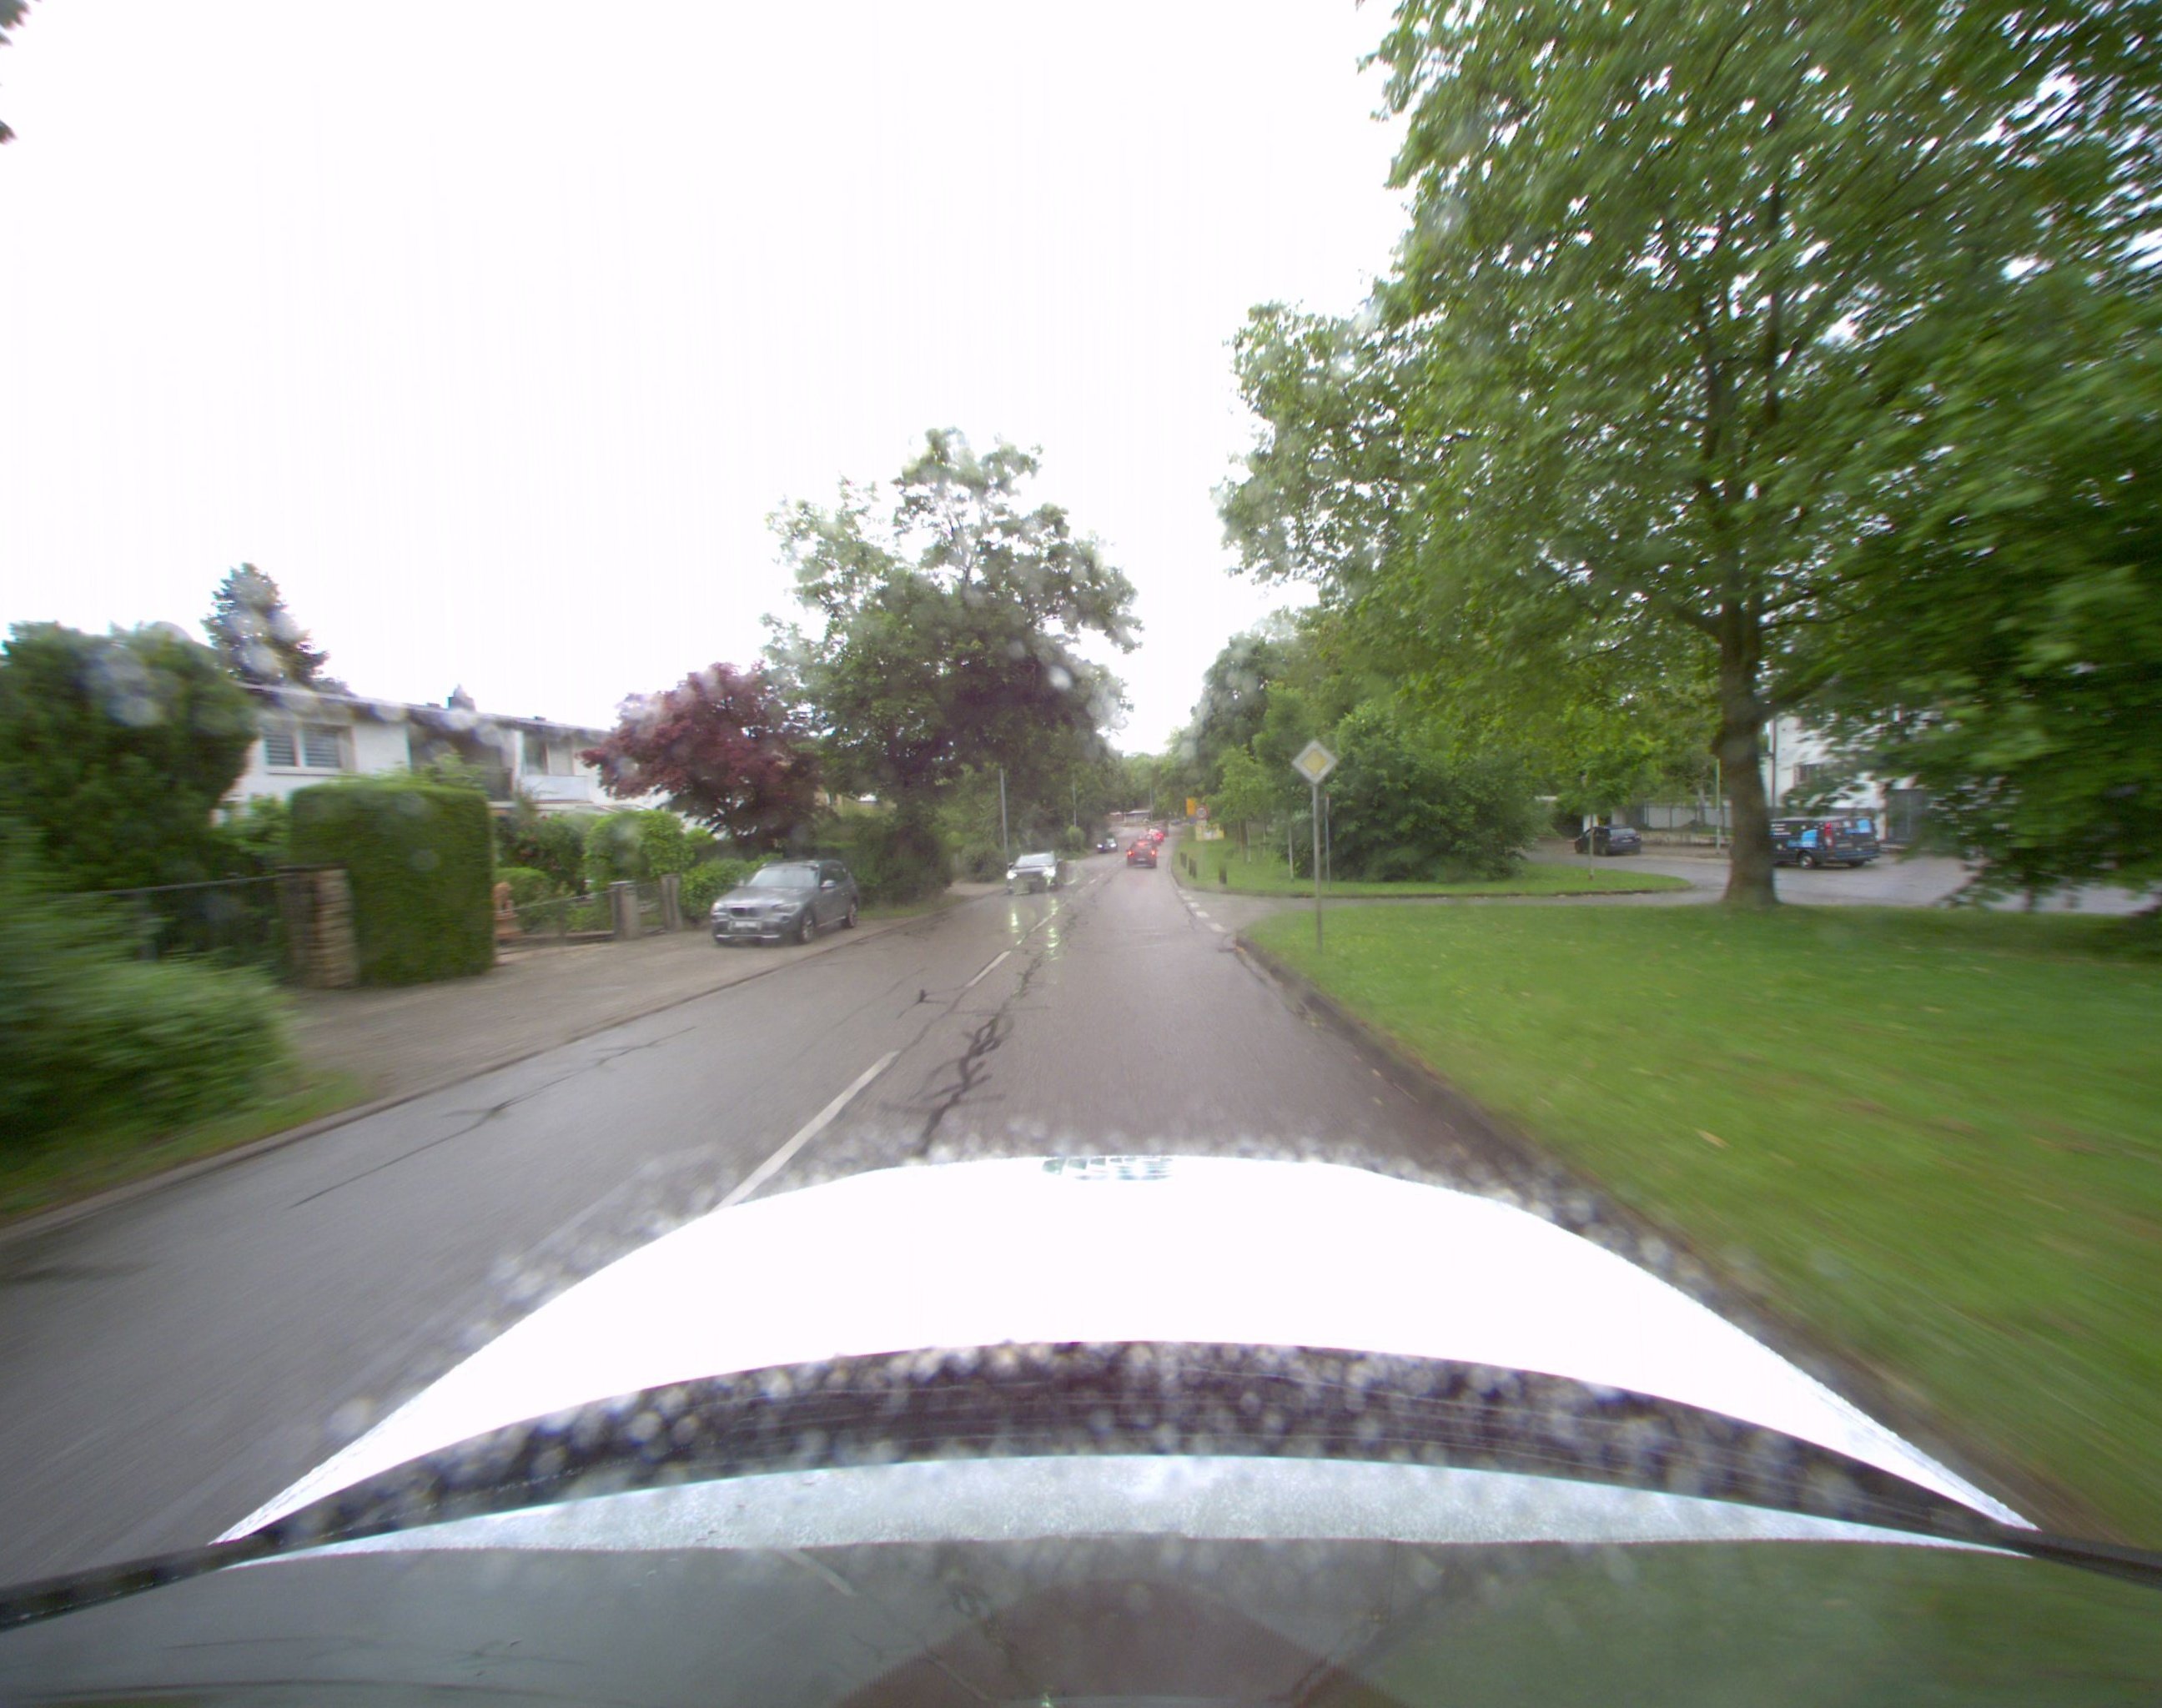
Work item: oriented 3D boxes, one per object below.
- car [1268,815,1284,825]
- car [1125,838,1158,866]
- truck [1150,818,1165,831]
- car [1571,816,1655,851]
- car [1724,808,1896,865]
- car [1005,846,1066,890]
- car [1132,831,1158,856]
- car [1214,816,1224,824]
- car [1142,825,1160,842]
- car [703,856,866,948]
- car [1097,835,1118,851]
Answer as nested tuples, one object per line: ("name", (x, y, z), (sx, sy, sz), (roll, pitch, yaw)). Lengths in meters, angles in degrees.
("car", (31.746, -5.572, 132.845), (1.610, 1.409, 4.013), (-4, 4, 1))
("car", (3.630, -0.143, 48.595), (1.789, 1.515, 3.762), (0, 3, 7))
("truck", (13.363, -5.225, 142.261), (2.405, 2.004, 5.160), (-3, 3, 5))
("car", (27.904, -1.084, 42.837), (1.894, 1.624, 4.039), (-3, 1, 3))
("car", (27.329, -0.680, 30.830), (2.150, 1.878, 5.075), (-3, 1, 3))
("car", (-1.636, 0.496, 30.644), (1.682, 1.396, 4.495), (-5, 0, 3))
("car", (5.224, -0.905, 66.392), (1.846, 1.784, 4.009), (-3, 2, 7))
("car", (28.111, -7.034, 165.879), (1.794, 1.385, 4.009), (-5, 3, 7))
("car", (8.337, -2.424, 96.890), (1.846, 1.784, 4.009), (-3, 2, 7))
("car", (-5.891, 0.873, 16.769), (1.657, 1.542, 4.286), (1, 1, 2))
("car", (2.645, -1.141, 81.016), (1.746, 1.362, 4.331), (-4, 2, 4))
